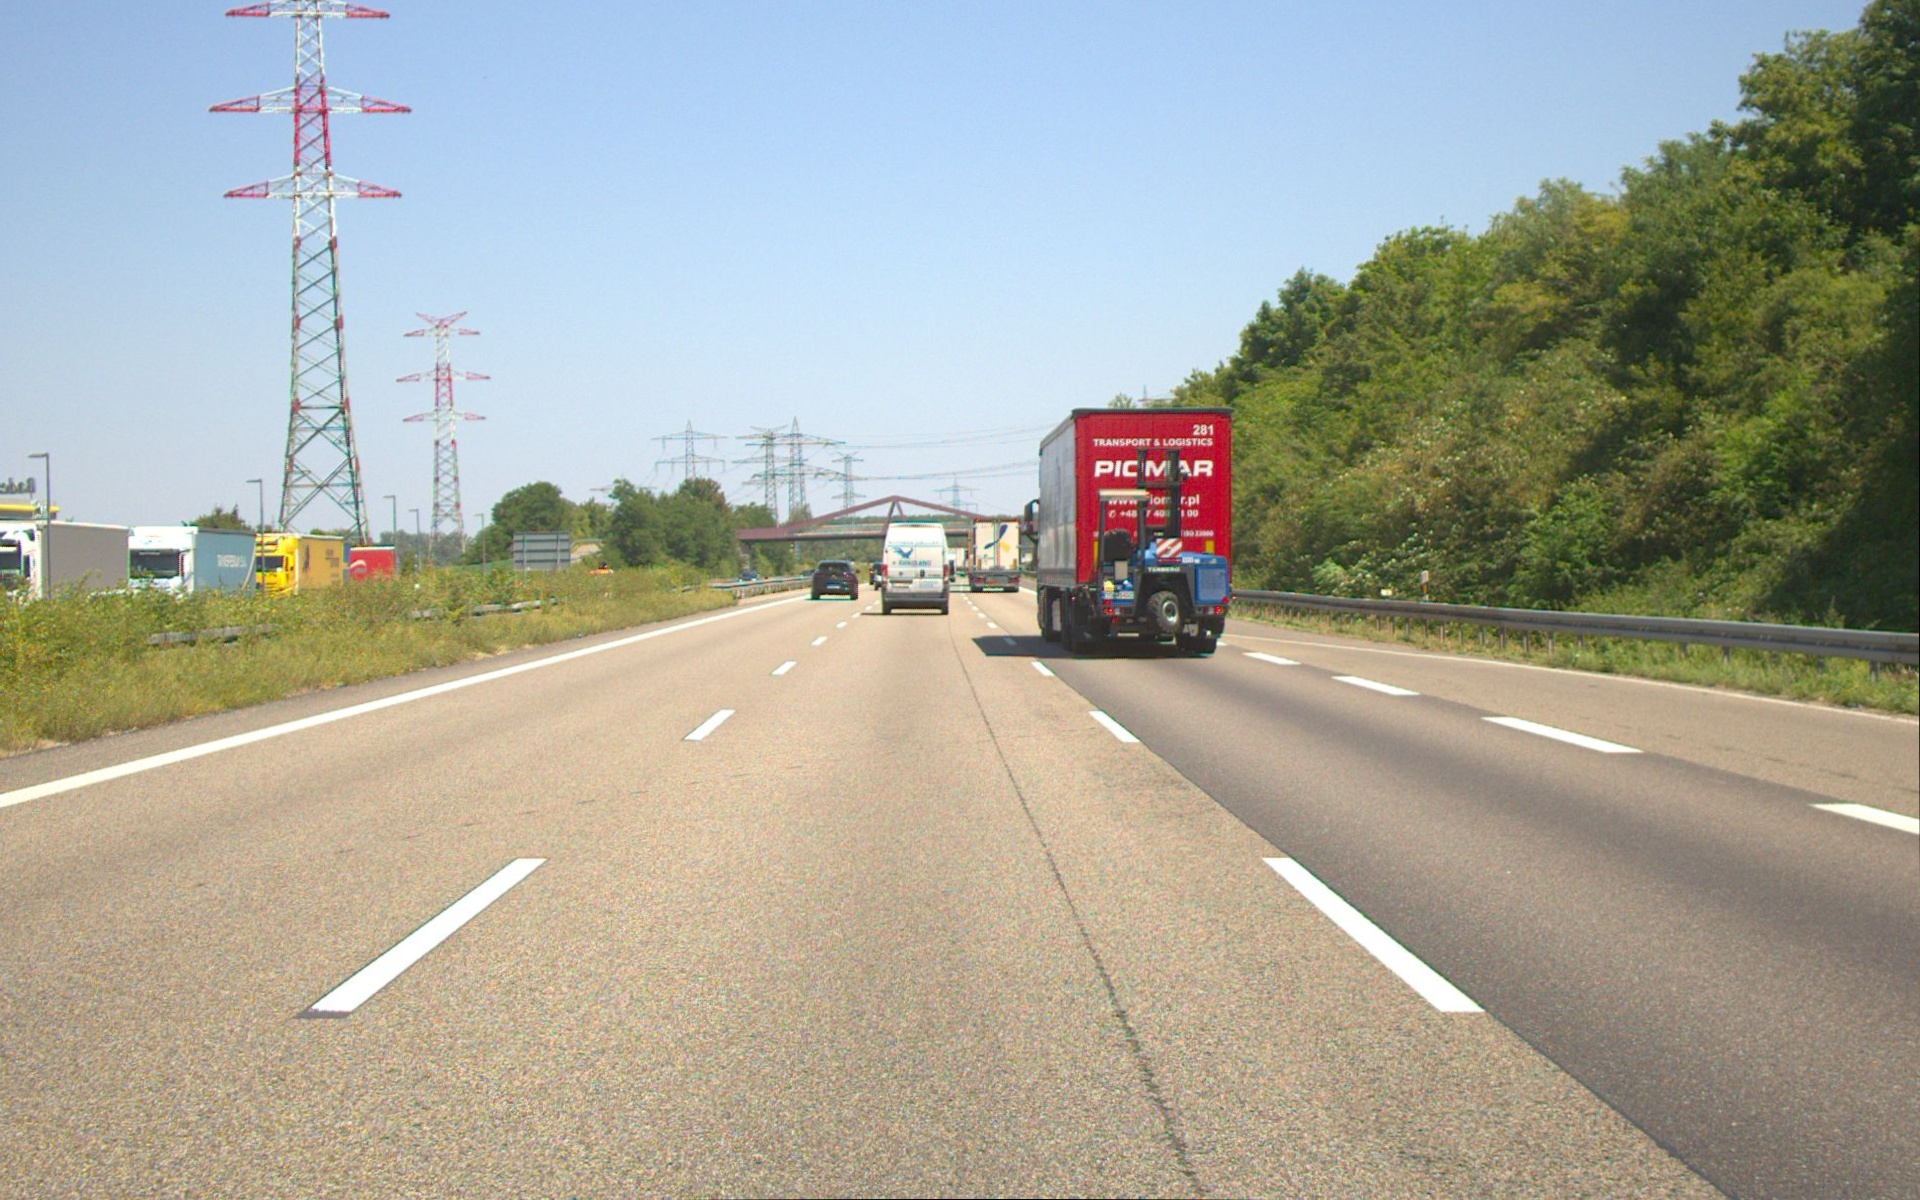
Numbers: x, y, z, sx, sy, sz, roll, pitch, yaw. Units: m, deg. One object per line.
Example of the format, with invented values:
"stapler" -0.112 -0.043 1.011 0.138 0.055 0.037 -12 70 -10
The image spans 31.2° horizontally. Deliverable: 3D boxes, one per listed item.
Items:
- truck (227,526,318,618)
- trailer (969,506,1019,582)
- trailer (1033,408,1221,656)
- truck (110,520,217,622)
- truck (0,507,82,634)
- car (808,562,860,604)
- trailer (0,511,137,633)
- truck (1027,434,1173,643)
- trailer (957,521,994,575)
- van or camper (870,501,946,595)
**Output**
"truck" -32.508 -1.341 162.815 2.833 4.186 7.919 1 1 -1
"trailer" 1.901 -3.102 192.283 2.637 4.047 12.366 1 1 1
"trailer" 2.778 -1.138 61.215 2.490 3.896 14.246 0 1 -1
"truck" -32.633 -1.202 141.046 2.849 4.059 7.090 1 0 -1
"truck" -32.152 -1.015 116.379 3.116 4.144 7.505 1 1 -2
"car" -5.498 -0.753 150.199 1.982 1.811 3.812 1 1 2
"trailer" -32.381 -1.025 123.778 3.113 4.144 11.016 1 1 -2
"truck" 2.689 -1.190 67.840 2.499 3.906 7.097 0 0 -1
"trailer" 1.194 -3.874 257.346 2.637 3.884 7.068 1 1 1
"van or camper" -1.578 -1.584 105.445 2.230 2.772 5.423 1 1 0
